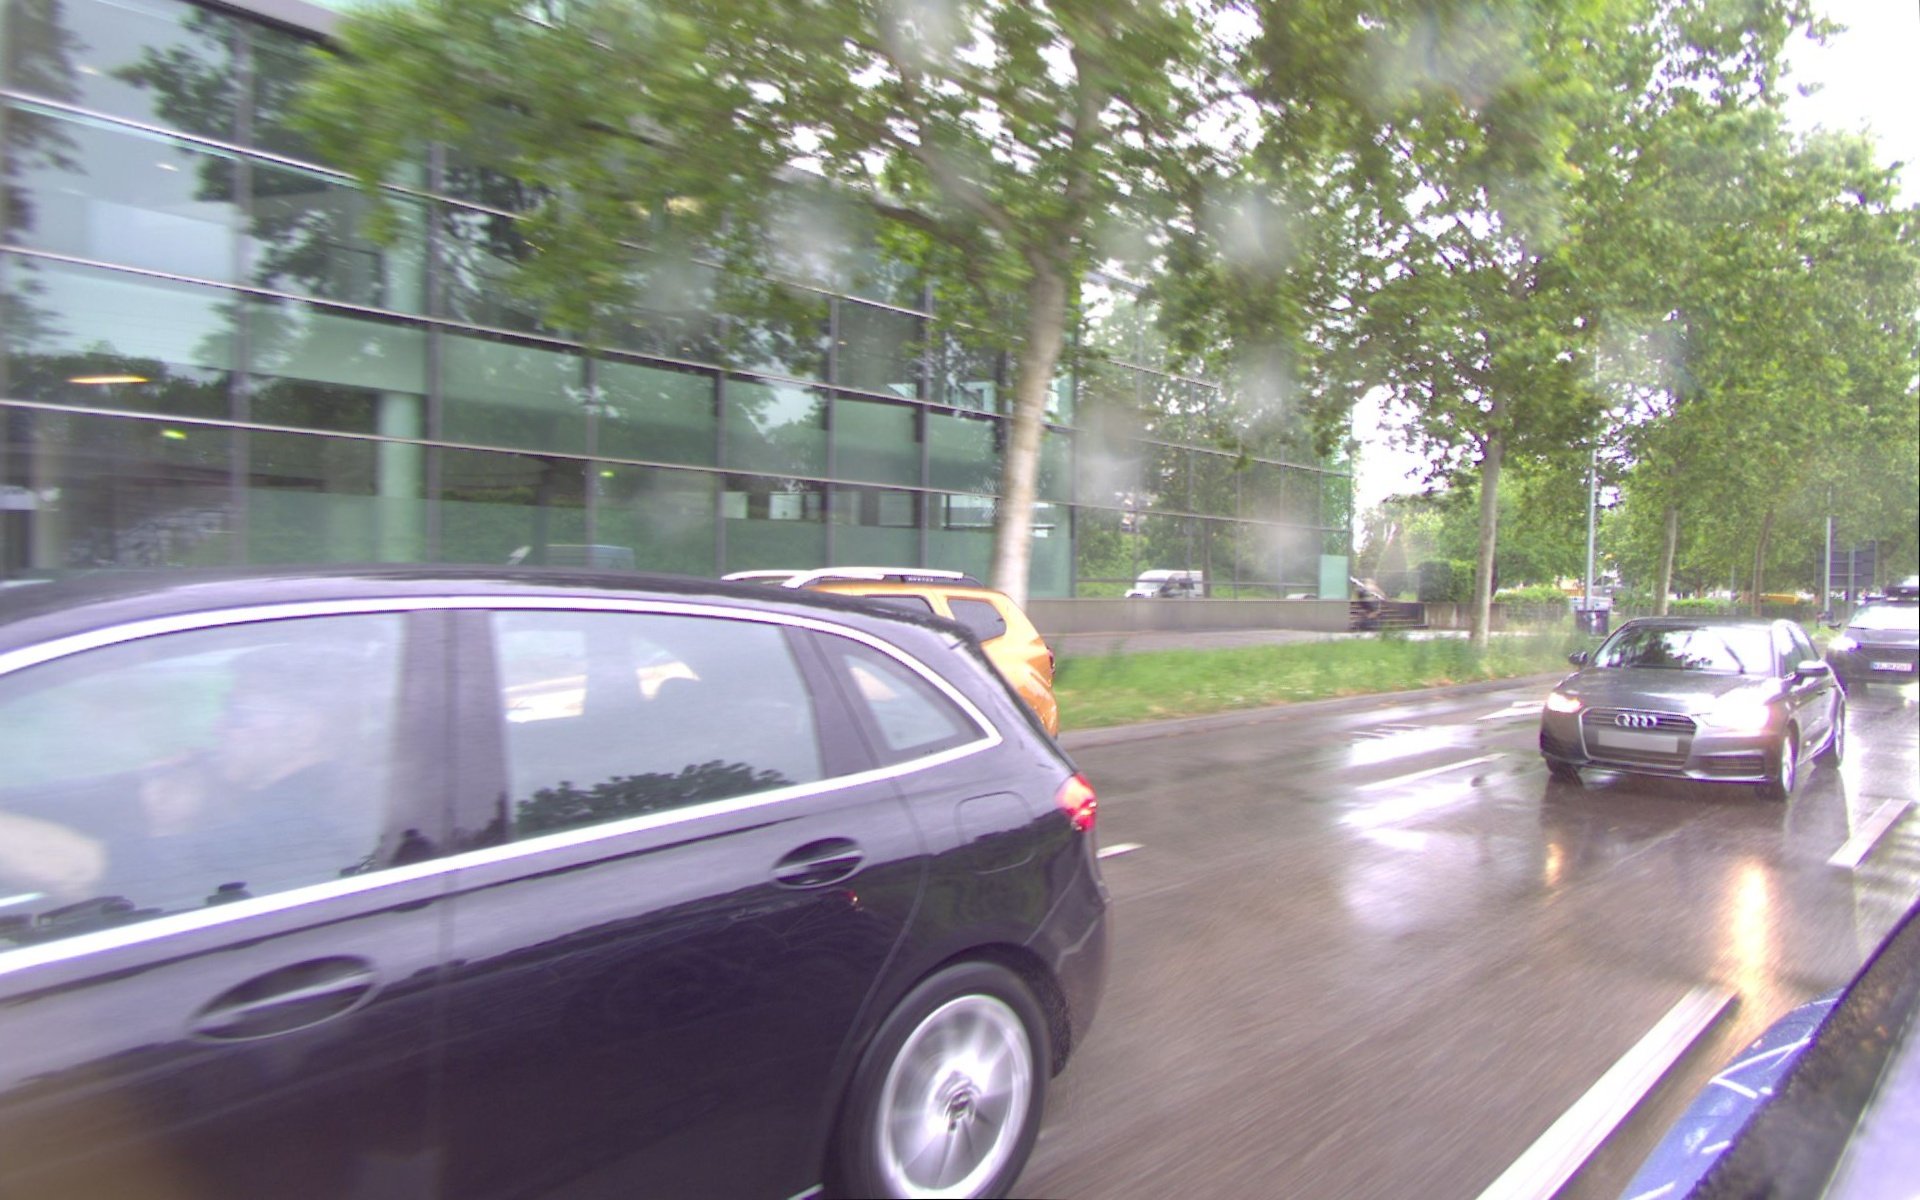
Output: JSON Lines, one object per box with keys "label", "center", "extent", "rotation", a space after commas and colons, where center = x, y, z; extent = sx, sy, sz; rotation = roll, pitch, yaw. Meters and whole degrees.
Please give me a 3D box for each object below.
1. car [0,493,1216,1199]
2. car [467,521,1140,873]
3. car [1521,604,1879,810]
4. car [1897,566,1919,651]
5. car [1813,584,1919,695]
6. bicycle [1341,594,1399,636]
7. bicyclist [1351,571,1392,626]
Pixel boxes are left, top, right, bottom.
{"label": "car", "center": [-1.496, 0.619, 2.085], "extent": [4.013, 1.542, 1.875], "rotation": [0, 1, -39]}
{"label": "car", "center": [-0.851, 0.426, 6.821], "extent": [4.097, 1.652, 1.904], "rotation": [0, 2, -41]}
{"label": "car", "center": [6.687, 0.760, 9.020], "extent": [3.688, 1.416, 1.839], "rotation": [0, 0, -41]}
{"label": "car", "center": [30.045, 0.269, 30.616], "extent": [4.891, 2.460, 1.997], "rotation": [0, 1, -42]}
{"label": "car", "center": [16.950, 0.638, 18.085], "extent": [4.253, 1.770, 1.997], "rotation": [0, 2, -42]}
{"label": "bicycle", "center": [11.979, 0.421, 29.531], "extent": [2.042, 1.118, 0.744], "rotation": [0, 3, -44]}
{"label": "bicyclist", "center": [11.983, -0.066, 29.497], "extent": [0.740, 1.533, 0.806], "rotation": [-1, 4, -43]}
